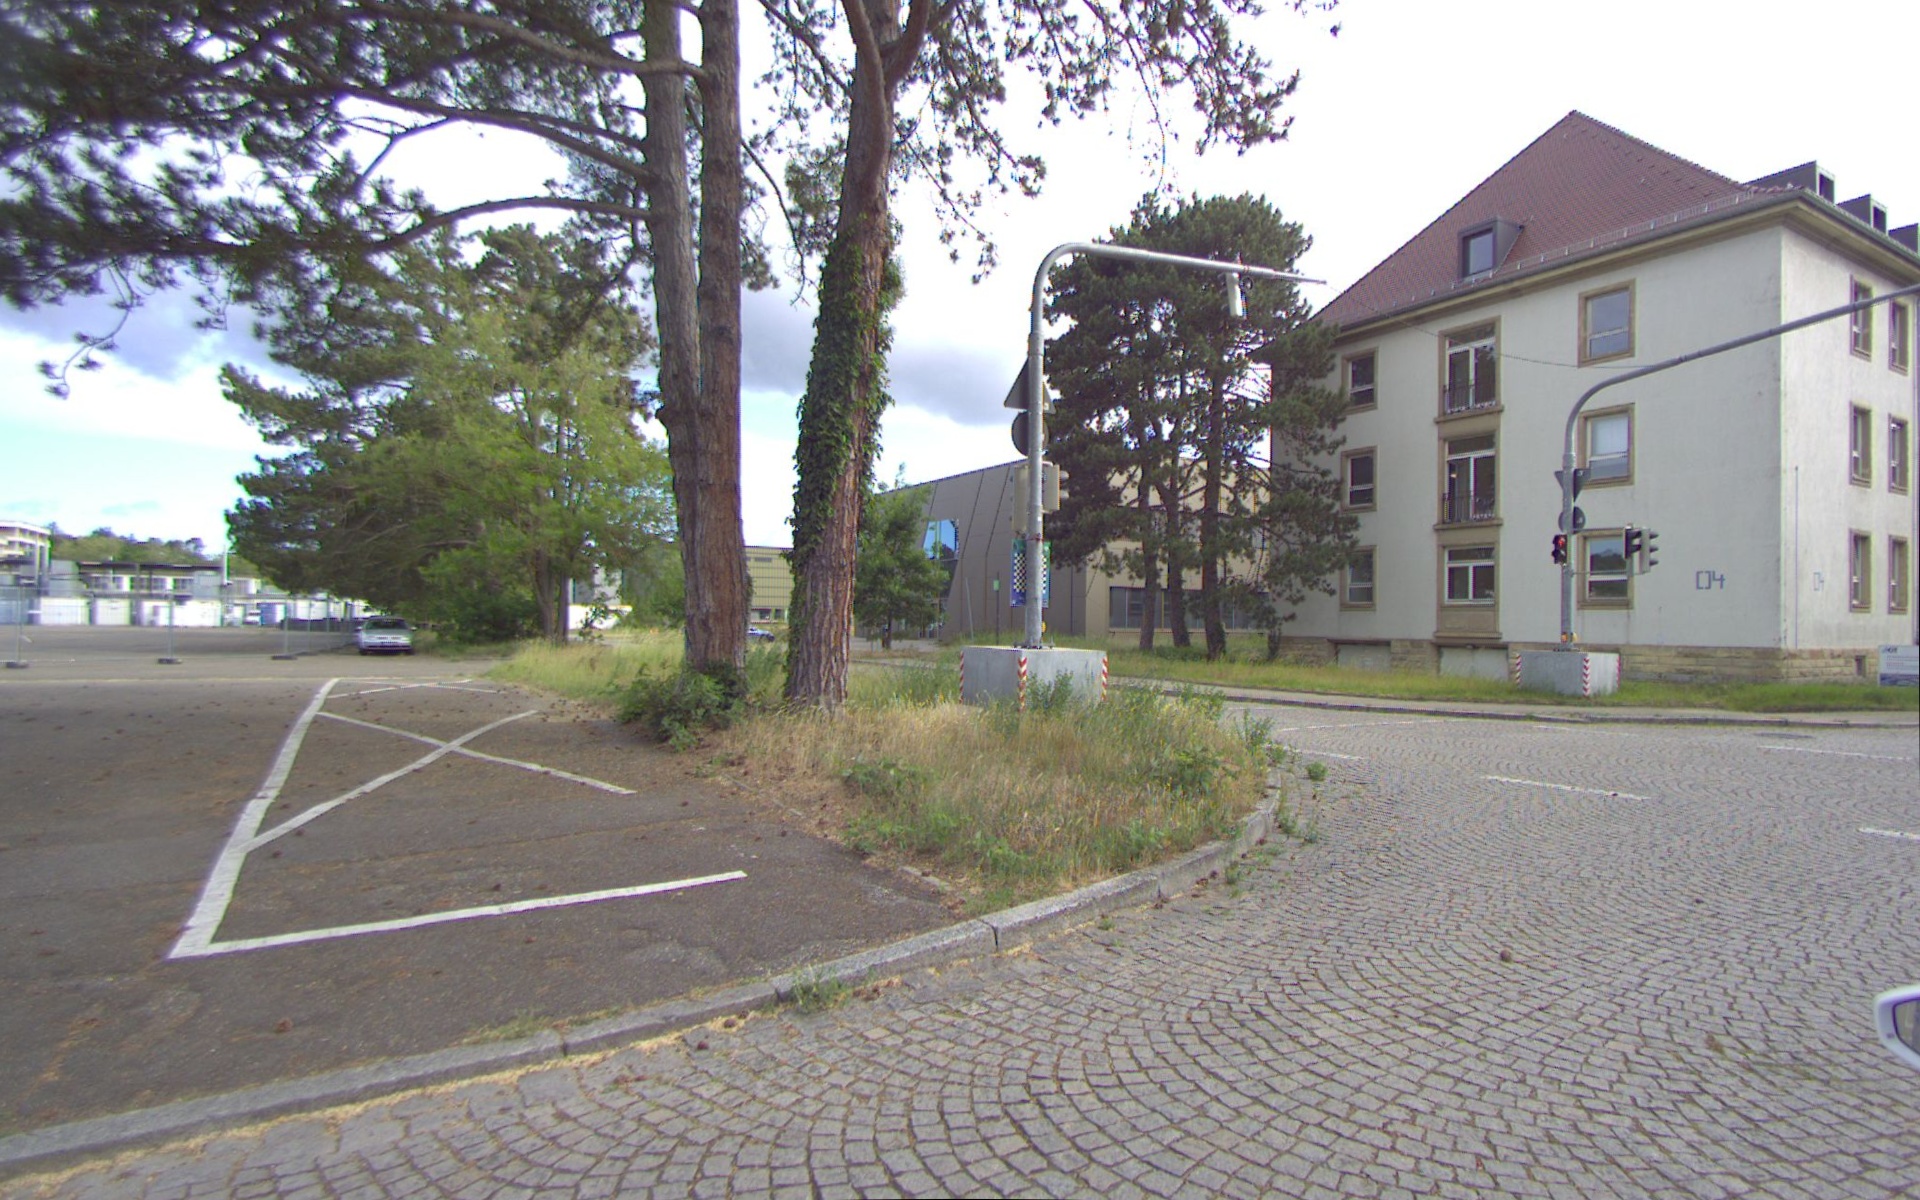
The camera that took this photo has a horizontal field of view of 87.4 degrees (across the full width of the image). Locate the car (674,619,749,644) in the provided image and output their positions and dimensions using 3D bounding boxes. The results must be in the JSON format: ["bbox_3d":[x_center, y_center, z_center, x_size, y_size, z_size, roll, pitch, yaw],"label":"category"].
[{"bbox_3d":[-16.469,2.047,66.645,4.480,1.552,1.984,0,0,-31],"label":"car"}]

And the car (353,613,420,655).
[{"bbox_3d":[-21.567,1.247,37.700,1.905,1.496,4.329,2,-2,-33],"label":"car"}]

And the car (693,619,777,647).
[{"bbox_3d":[-13.403,1.941,59.882,4.486,1.552,1.981,0,0,-35],"label":"car"}]
